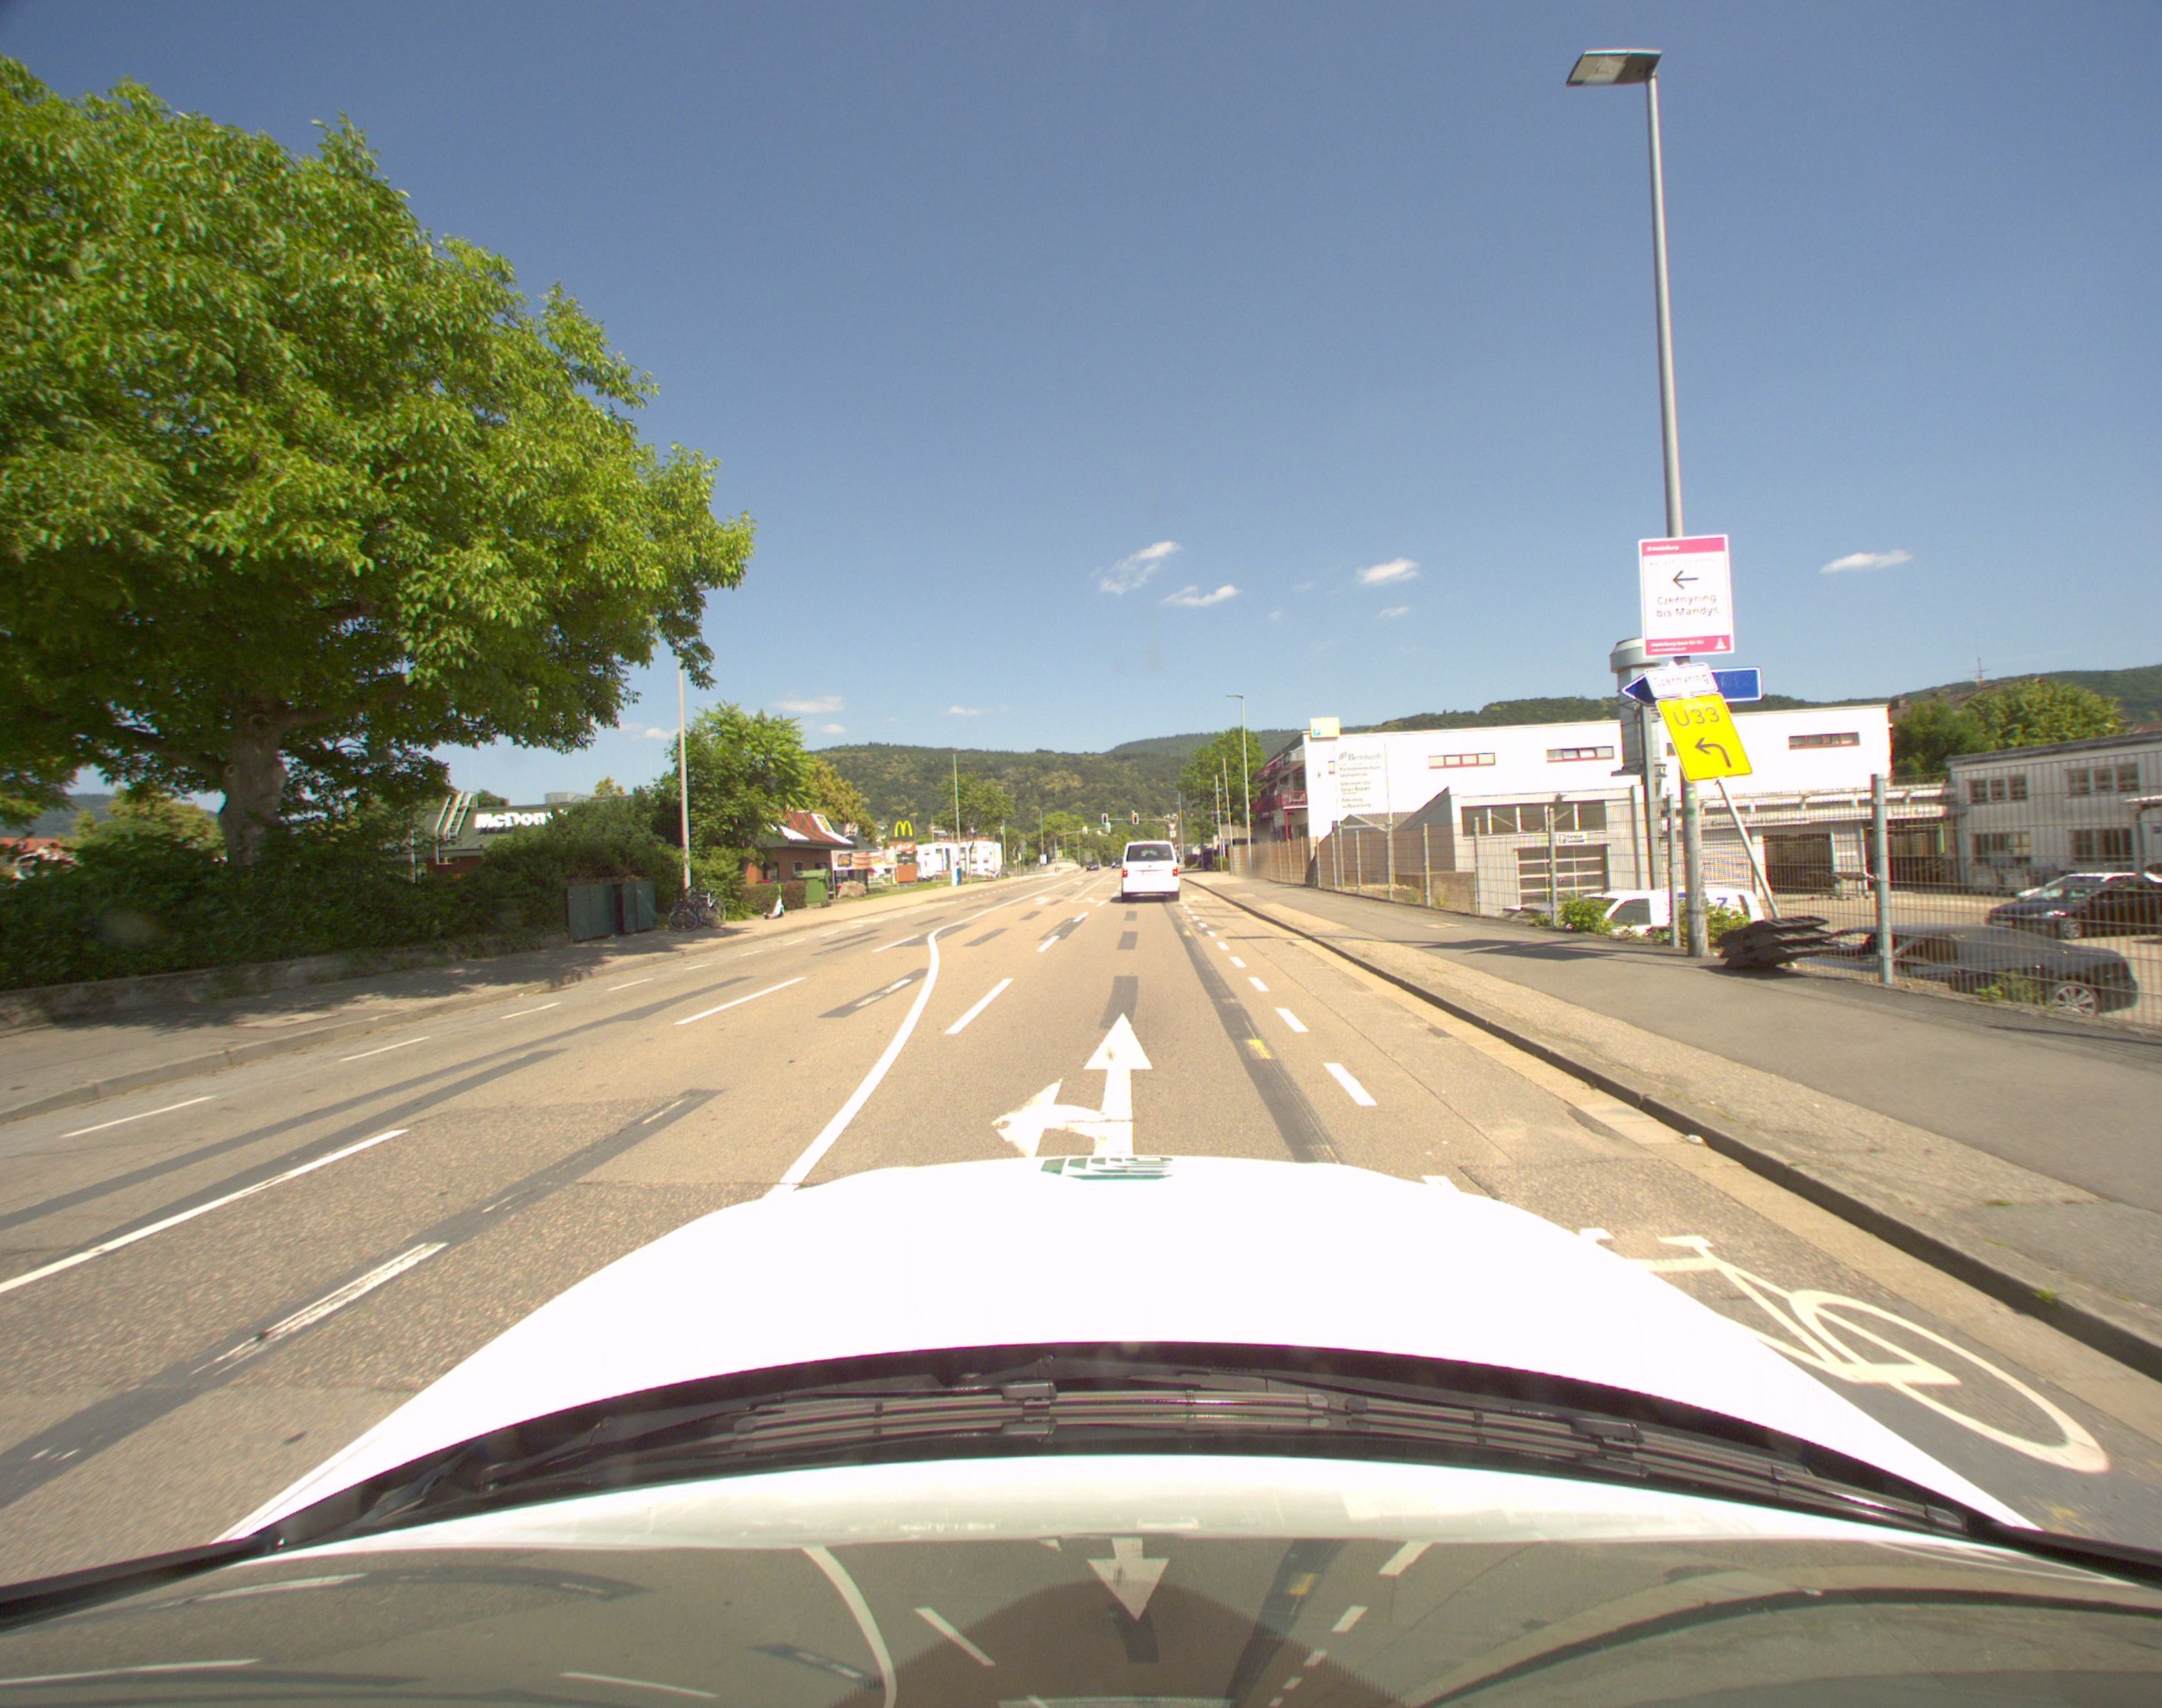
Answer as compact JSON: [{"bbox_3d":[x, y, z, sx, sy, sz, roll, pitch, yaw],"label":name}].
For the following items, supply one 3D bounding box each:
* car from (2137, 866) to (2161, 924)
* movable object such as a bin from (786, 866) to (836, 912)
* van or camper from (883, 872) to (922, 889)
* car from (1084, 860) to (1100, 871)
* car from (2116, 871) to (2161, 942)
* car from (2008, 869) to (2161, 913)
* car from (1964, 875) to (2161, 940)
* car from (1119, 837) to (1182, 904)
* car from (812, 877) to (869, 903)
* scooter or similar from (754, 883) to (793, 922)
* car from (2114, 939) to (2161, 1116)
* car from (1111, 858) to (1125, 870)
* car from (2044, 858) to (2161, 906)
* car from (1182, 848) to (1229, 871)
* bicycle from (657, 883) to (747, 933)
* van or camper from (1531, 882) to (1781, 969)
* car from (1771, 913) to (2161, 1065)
[{"bbox_3d":[39.045,1.380,27.525,3.973,2.014,2.000,0,-2,1],"label":"car"},{"bbox_3d":[-10.229,1.301,30.939,1.446,1.590,1.305,-3,0,-5],"label":"movable object such as a bin"},{"bbox_3d":[-18.765,2.761,85.506,3.993,1.574,1.990,-1,0,-14],"label":"van or camper"},{"bbox_3d":[1.662,1.614,117.356,1.984,1.370,4.332,-3,0,4],"label":"car"},{"bbox_3d":[28.412,1.211,19.759,3.970,1.662,1.864,-3,-1,3],"label":"car"},{"bbox_3d":[34.272,1.245,27.481,3.810,1.405,1.871,0,-2,1],"label":"car"},{"bbox_3d":[27.558,1.452,22.597,3.973,1.516,1.845,-3,-2,0],"label":"car"},{"bbox_3d":[2.277,0.530,27.863,1.927,2.059,4.547,-1,0,2],"label":"car"},{"bbox_3d":[-14.874,2.182,50.607,1.983,1.416,4.136,-1,0,6],"label":"car"},{"bbox_3d":[-9.490,1.481,25.215,0.645,1.127,1.621,0,0,-3],"label":"scooter or similar"},{"bbox_3d":[12.284,1.614,7.067,3.971,1.651,2.001,-2,0,2],"label":"car"},{"bbox_3d":[5.477,1.461,121.192,1.841,1.588,4.004,-3,0,4],"label":"car"},{"bbox_3d":[38.602,1.001,29.969,3.973,1.706,2.000,0,0,1],"label":"car"},{"bbox_3d":[11.023,0.475,72.106,3.962,1.775,2.006,-3,0,10],"label":"car"},{"bbox_3d":[-9.902,1.381,21.427,1.023,1.118,2.766,0,0,1],"label":"bicycle"},{"bbox_3d":[13.016,1.586,18.648,4.300,1.651,2.020,-2,0,-1],"label":"van or camper"},{"bbox_3d":[13.534,1.996,12.608,3.971,2.014,2.001,0,0,2],"label":"car"}]
